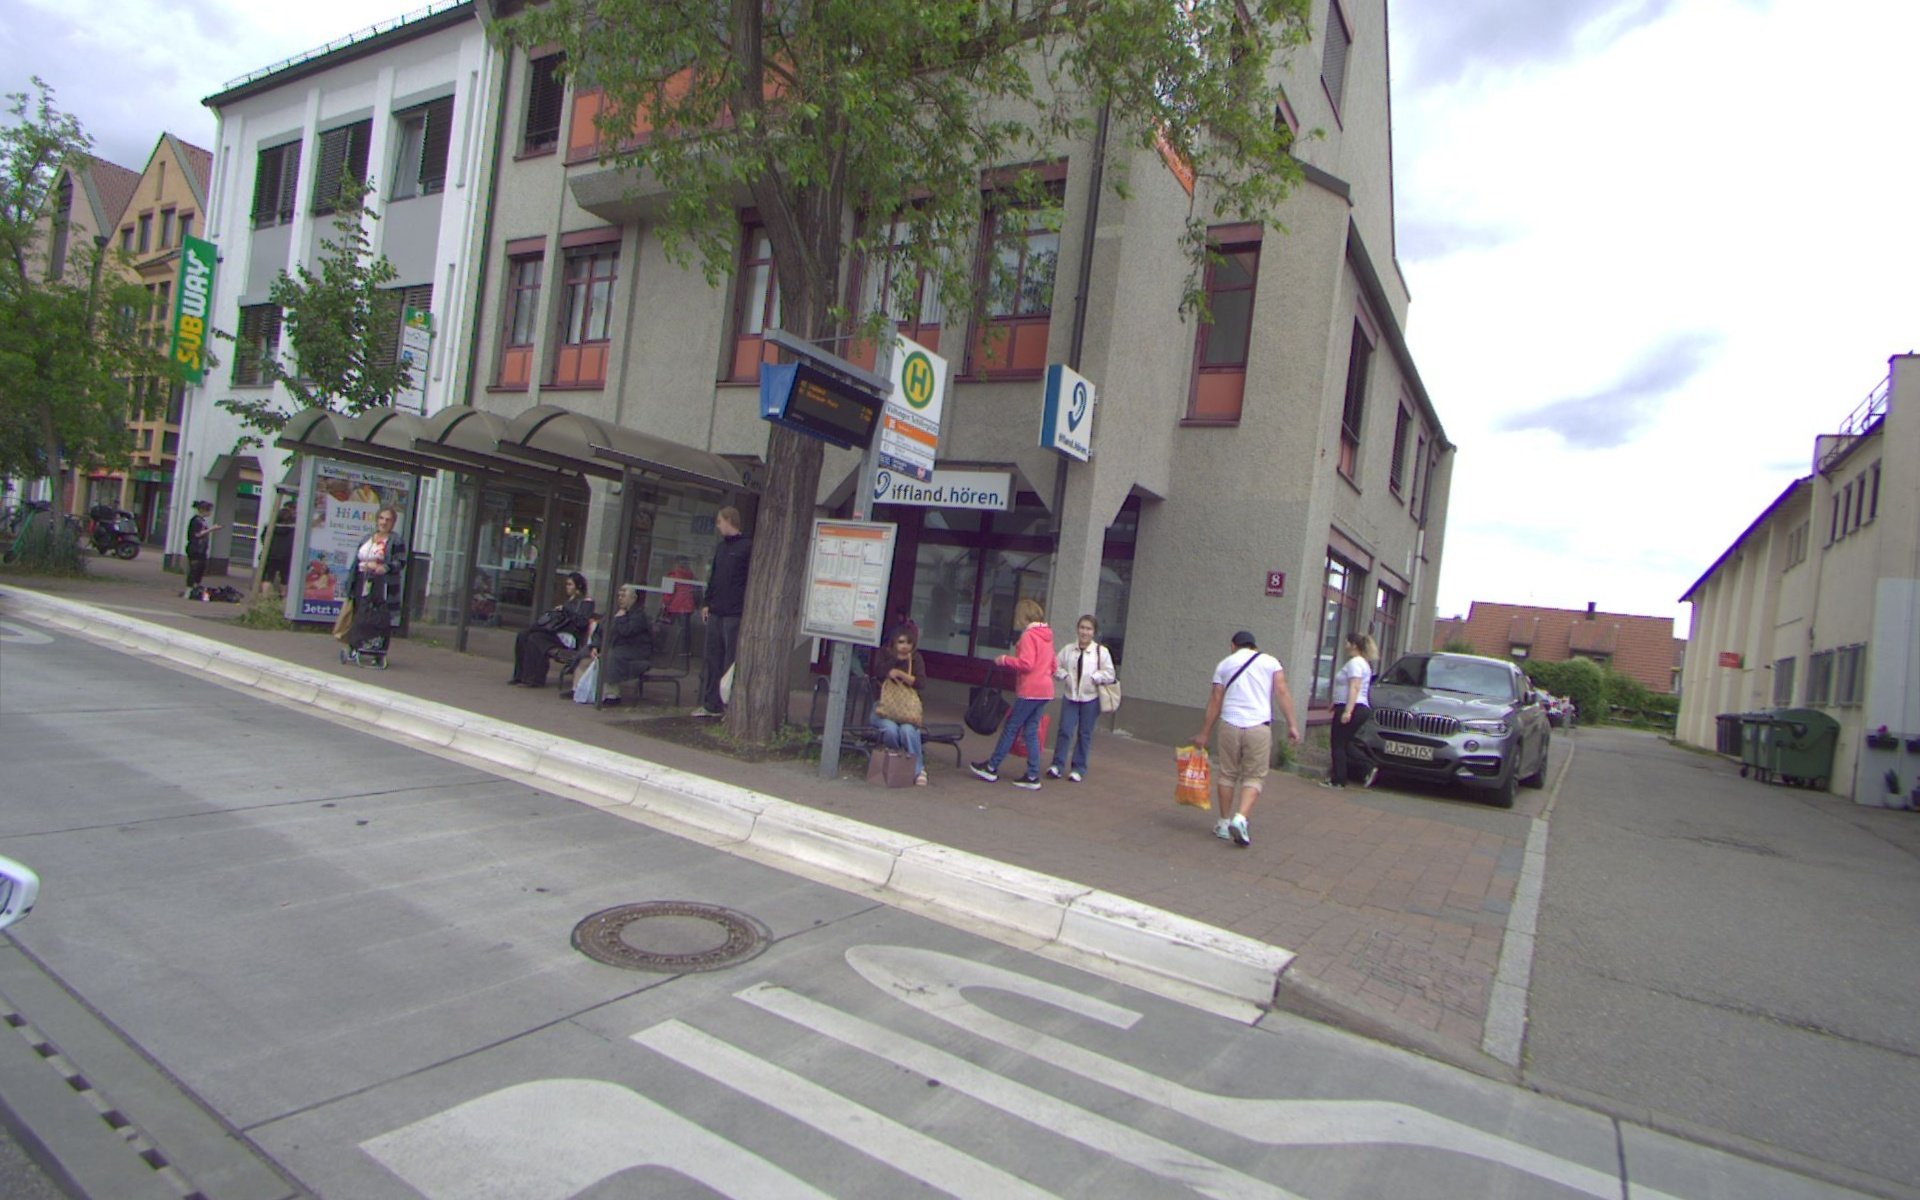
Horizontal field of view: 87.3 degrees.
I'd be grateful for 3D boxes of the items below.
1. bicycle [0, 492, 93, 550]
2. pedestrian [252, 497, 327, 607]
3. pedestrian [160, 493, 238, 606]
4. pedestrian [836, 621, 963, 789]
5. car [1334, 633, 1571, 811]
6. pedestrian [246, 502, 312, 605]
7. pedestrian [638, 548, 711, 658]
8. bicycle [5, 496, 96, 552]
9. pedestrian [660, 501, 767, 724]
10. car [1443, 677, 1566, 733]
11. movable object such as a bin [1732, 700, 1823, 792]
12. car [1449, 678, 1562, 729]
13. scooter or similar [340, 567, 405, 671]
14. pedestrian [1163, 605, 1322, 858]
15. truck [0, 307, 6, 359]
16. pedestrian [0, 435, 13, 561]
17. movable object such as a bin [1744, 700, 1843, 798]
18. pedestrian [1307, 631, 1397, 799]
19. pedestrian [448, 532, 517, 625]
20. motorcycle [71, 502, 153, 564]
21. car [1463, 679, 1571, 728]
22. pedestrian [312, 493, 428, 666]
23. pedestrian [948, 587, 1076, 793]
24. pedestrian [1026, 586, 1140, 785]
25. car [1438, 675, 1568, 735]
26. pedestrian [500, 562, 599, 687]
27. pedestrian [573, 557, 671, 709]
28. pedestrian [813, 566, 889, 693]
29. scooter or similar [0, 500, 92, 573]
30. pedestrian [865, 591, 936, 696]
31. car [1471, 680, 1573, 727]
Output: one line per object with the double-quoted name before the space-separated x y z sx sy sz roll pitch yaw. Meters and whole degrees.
"bicycle" -26.133 -2.242 28.718 0.829 1.342 1.820 7 -1 28
"pedestrian" -11.990 -0.848 18.002 0.752 1.842 0.615 6 0 8
"pedestrian" -12.725 -0.842 16.831 0.578 1.758 0.615 8 -2 29
"pedestrian" -0.464 0.815 7.915 0.577 1.180 0.714 8 0 25
"car" 6.411 1.512 12.782 1.851 1.638 4.609 7 -2 36
"pedestrian" -11.396 -0.758 16.851 0.578 1.631 0.613 6 0 -13
"pedestrian" -4.569 0.059 16.136 0.604 1.654 0.728 8 0 23
"bicycle" -25.444 -2.123 28.173 0.658 1.274 1.678 7 -1 28
"pedestrian" -2.383 0.121 9.725 0.611 2.073 0.580 4 2 -45
"car" 20.812 3.999 38.479 3.887 1.525 1.834 7 -1 33
"movable object such as a bin" 16.149 2.854 19.916 1.099 1.582 1.106 7 0 32
"car" 22.739 4.310 41.979 3.887 1.525 1.834 7 -1 33
"scooter or similar" -5.834 0.186 10.001 0.349 0.971 0.384 7 1 -9
"pedestrian" 2.057 0.923 7.310 0.780 1.654 0.614 8 0 31
"truck" -16.692 -2.423 13.781 9.604 3.604 2.692 7 0 32
"pedestrian" -11.567 -1.053 11.634 0.578 1.801 0.614 6 0 28
"movable object such as a bin" 15.463 2.735 18.700 1.099 1.582 1.106 7 0 32
"pedestrian" 4.172 1.206 10.695 0.605 1.654 0.587 7 0 32
"pedestrian" -8.548 -0.371 18.031 0.604 1.544 0.727 8 0 25
"motorcycle" -21.020 -1.655 24.928 2.071 1.286 0.738 7 0 28
"car" 24.462 4.517 44.206 3.887 1.525 1.834 7 -1 33
"pedestrian" -6.021 -0.190 10.293 0.577 1.652 0.537 9 -2 8
"pedestrian" 0.433 0.749 8.334 0.669 1.585 0.486 9 0 -38
"pedestrian" 1.106 0.757 8.994 0.579 1.654 0.613 8 0 36
"car" 19.599 3.788 36.346 3.887 1.525 1.834 7 -1 33
"pedestrian" -4.345 0.265 10.667 0.580 1.248 0.698 7 2 41
"pedestrian" -3.319 0.325 9.883 0.611 1.419 0.580 5 2 -45
"pedestrian" -1.500 0.410 13.911 0.605 1.654 0.587 8 0 33
"scooter or similar" -17.245 -1.178 18.953 0.452 1.211 1.179 7 0 23
"pedestrian" -0.838 0.617 14.233 0.605 1.392 0.586 8 0 34
"car" 25.740 4.730 46.105 3.887 1.525 1.834 7 -1 33
